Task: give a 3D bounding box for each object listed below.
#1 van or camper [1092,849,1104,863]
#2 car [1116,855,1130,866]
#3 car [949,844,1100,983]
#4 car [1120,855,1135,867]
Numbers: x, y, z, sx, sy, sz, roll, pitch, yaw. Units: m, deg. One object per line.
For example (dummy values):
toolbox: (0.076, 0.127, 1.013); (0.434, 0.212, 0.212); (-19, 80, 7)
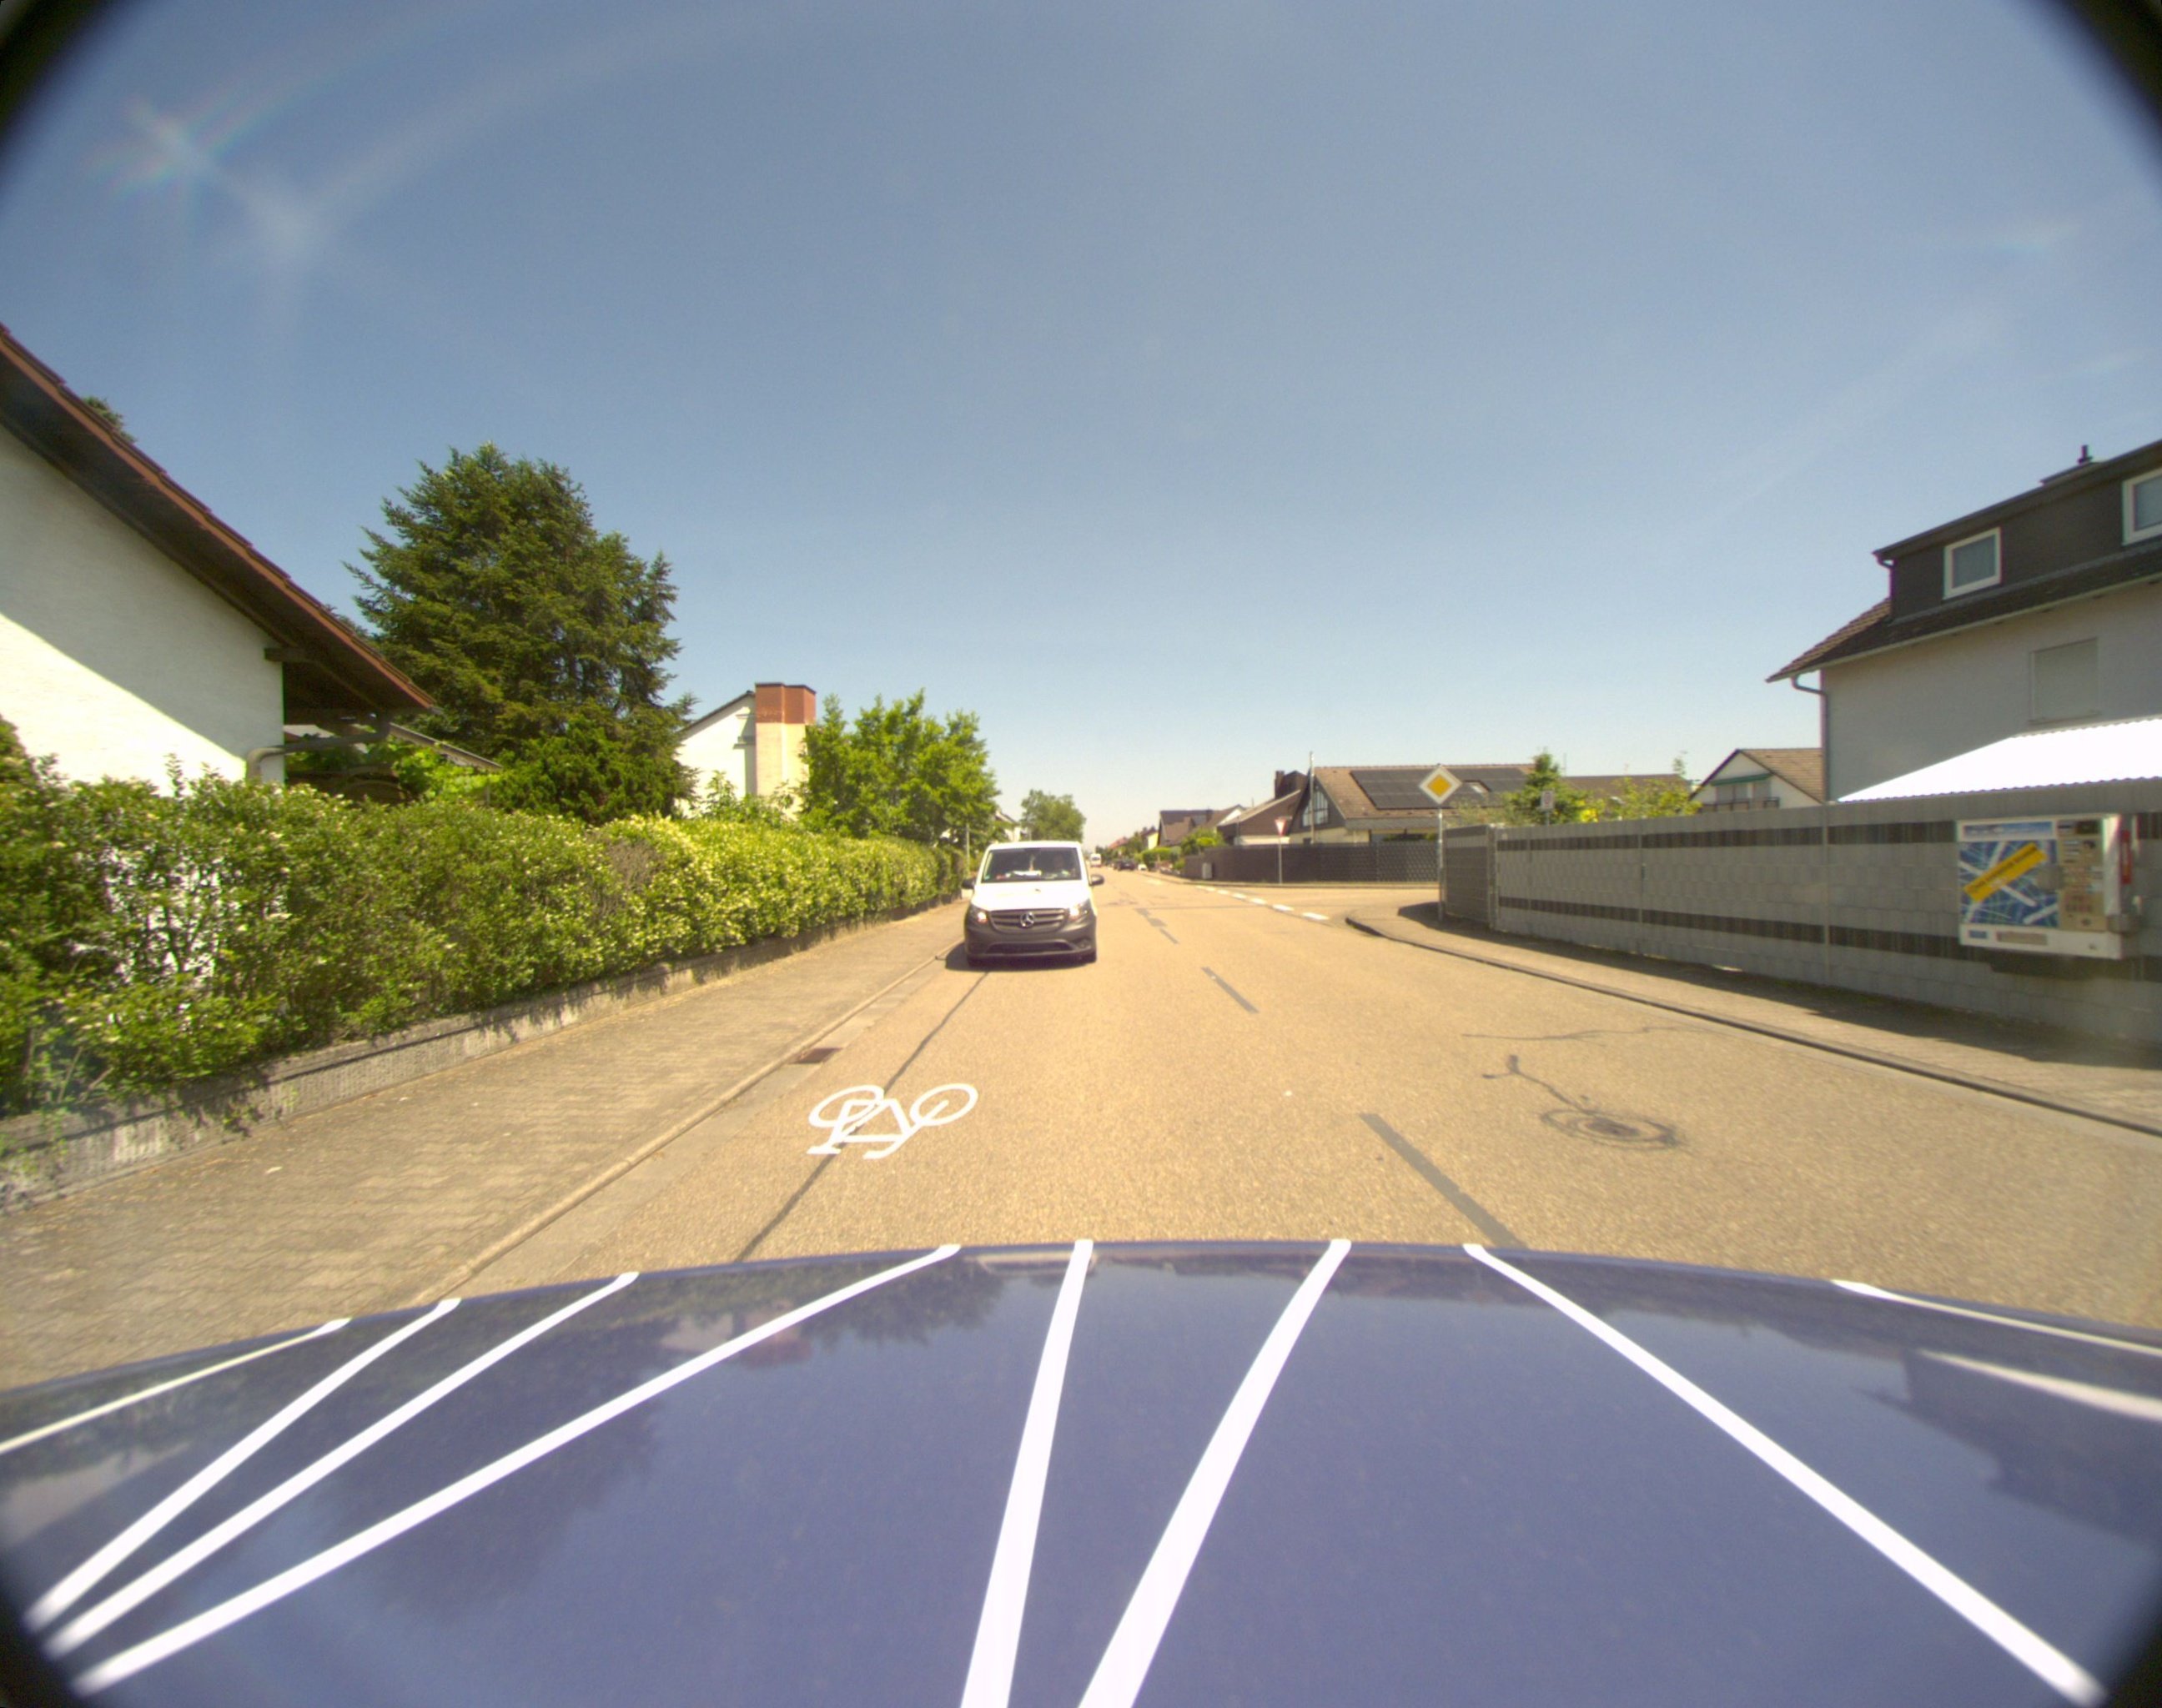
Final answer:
van or camper: (3.283, 0.422, 146.203); (2.069, 2.576, 4.603); (-1, 0, -1)
car: (5.952, 0.896, 108.422); (1.998, 1.390, 4.000); (-1, 0, 3)
car: (-0.716, 0.787, 12.804); (2.018, 1.846, 5.068); (-1, 0, 1)
car: (5.651, 0.825, 92.161); (1.807, 1.390, 4.001); (-1, 0, 3)
